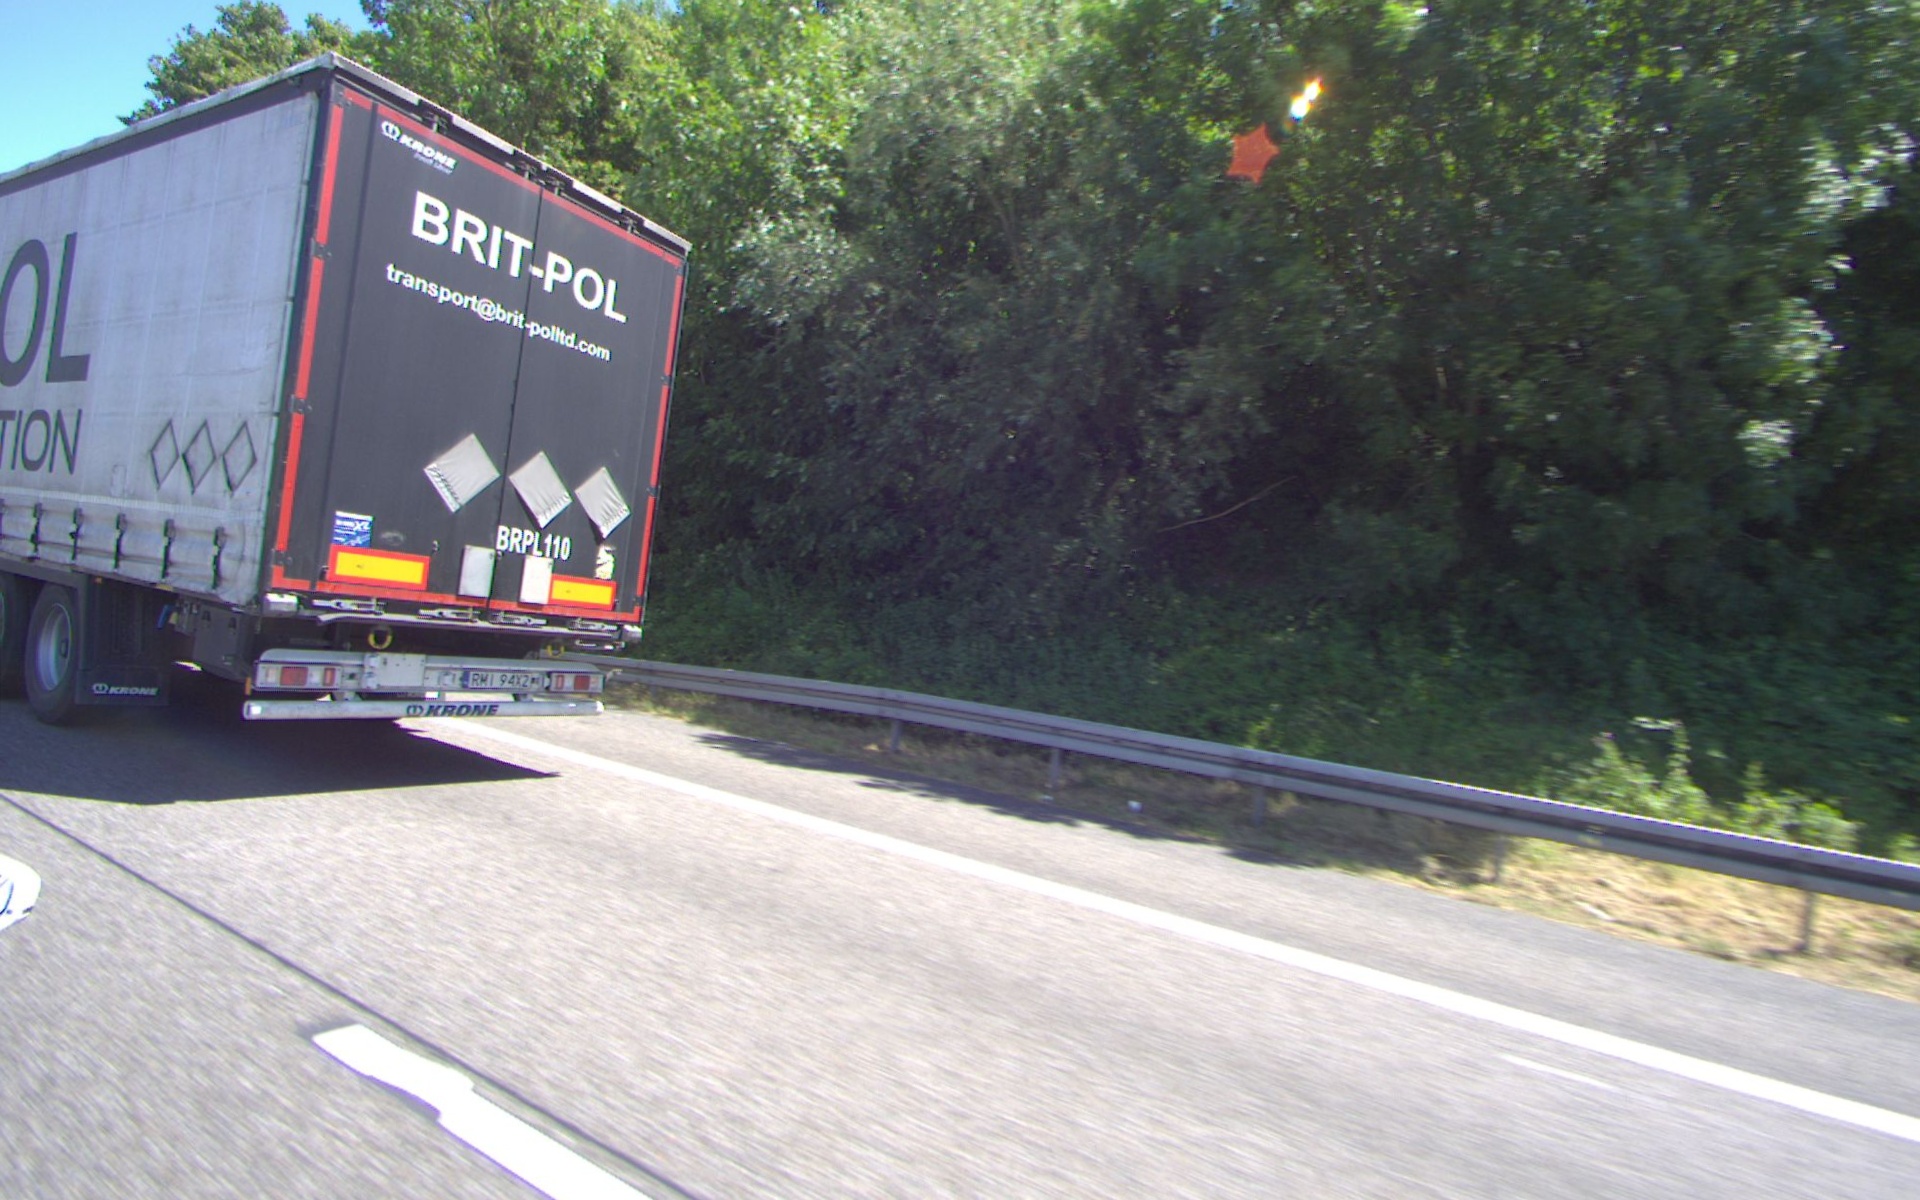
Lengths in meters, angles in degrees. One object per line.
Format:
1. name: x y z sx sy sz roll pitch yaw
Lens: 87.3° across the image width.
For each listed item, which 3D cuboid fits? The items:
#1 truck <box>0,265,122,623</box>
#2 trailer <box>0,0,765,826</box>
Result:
1. truck: -15.173 -2.335 14.142 5.953 4.493 3.093 6 -1 32
2. trailer: -8.734 -1.683 10.136 14.649 4.560 3.111 6 -1 32
